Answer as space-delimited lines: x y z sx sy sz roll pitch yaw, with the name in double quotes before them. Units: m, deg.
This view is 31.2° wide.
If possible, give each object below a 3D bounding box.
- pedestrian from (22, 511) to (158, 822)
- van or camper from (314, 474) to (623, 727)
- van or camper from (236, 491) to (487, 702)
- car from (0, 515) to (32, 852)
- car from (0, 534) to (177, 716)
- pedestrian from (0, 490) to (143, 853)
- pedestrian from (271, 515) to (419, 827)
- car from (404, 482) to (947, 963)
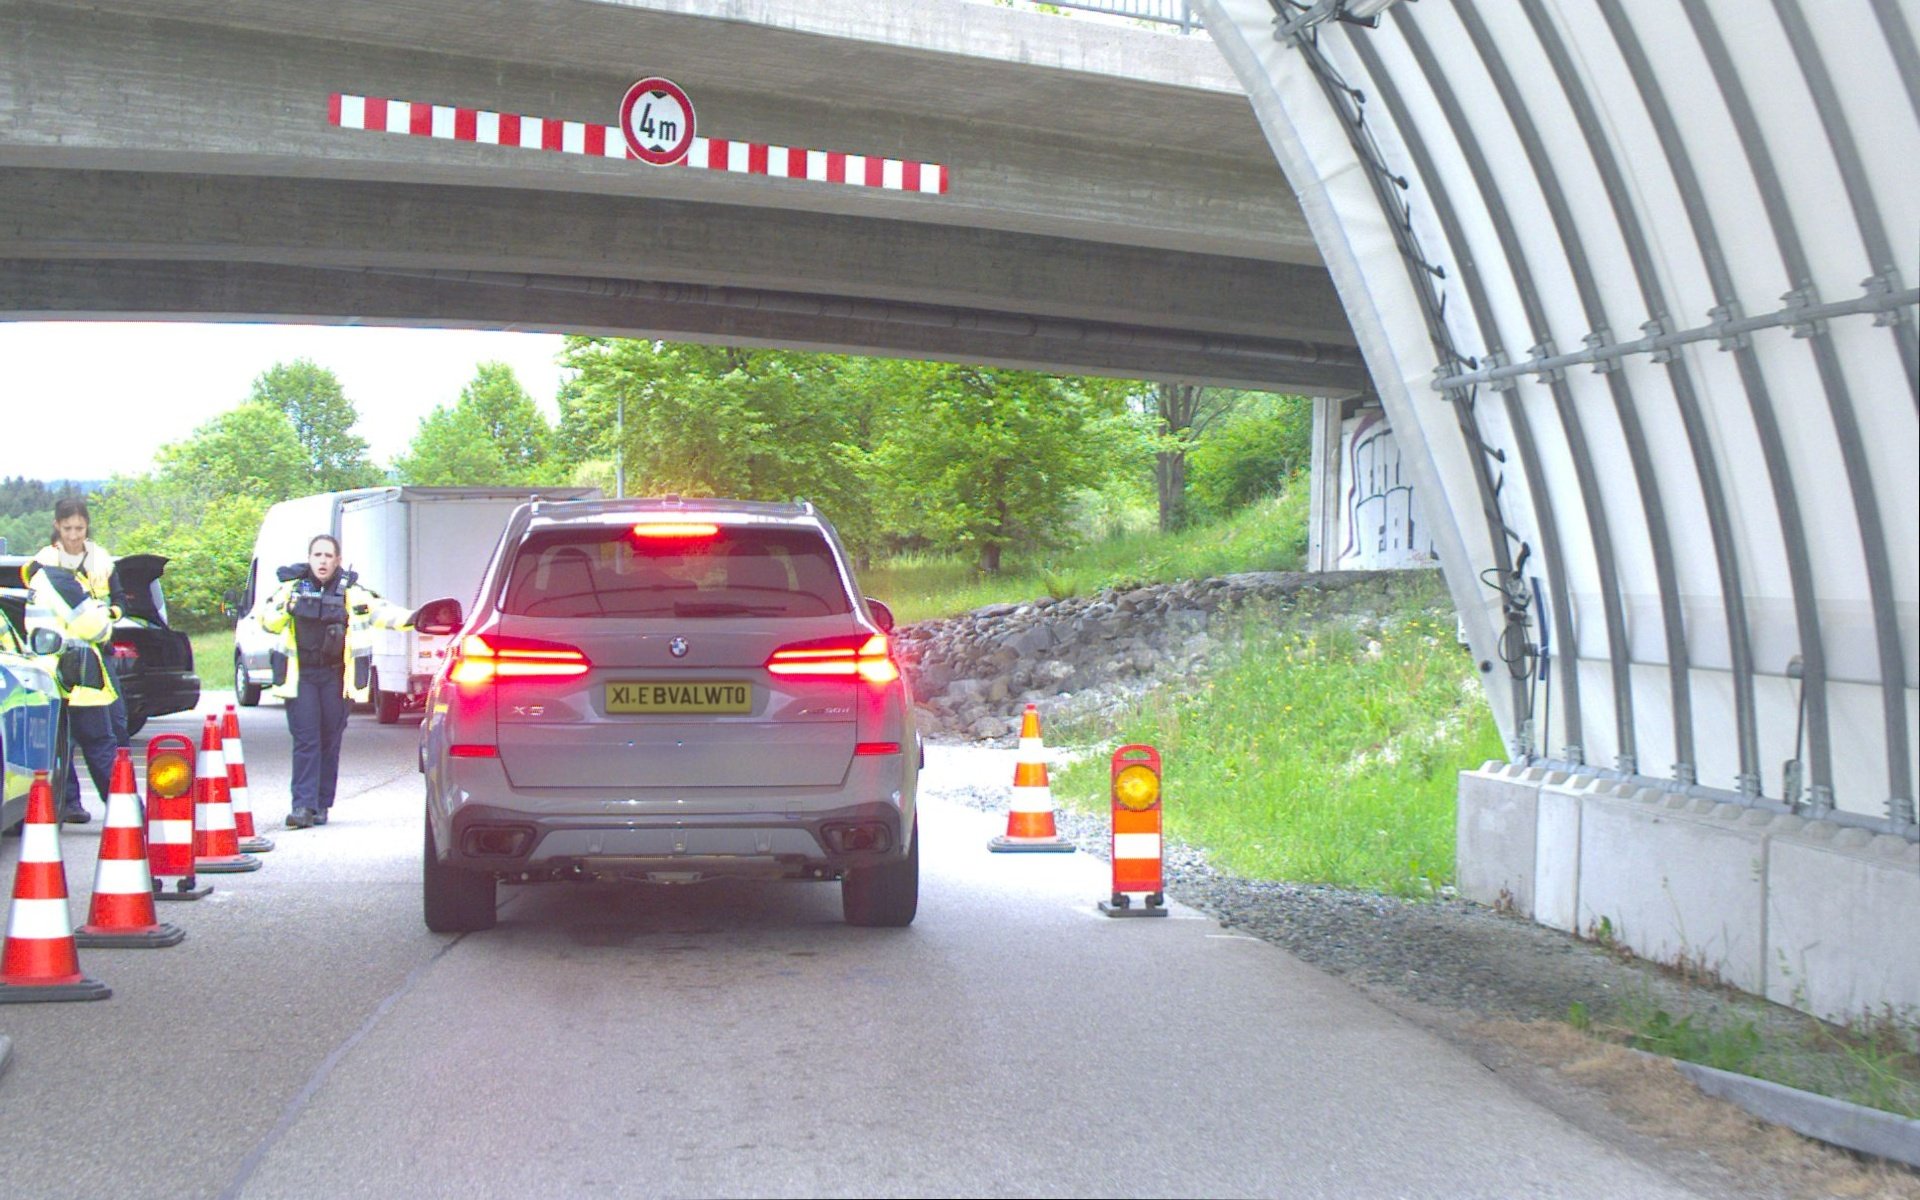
"pedestrian" -4.976 0.371 19.690 0.609 1.748 0.666 -1 0 -2
"van or camper" -5.585 -0.024 38.203 2.229 2.543 6.613 -1 1 -18
"van or camper" -7.734 -0.072 43.971 2.103 2.510 5.552 -1 1 -21
"car" -5.586 0.416 16.467 1.877 1.641 4.001 -1 1 -11
"car" -11.568 0.275 39.191 4.808 2.007 1.840 0 0 11
"pedestrian" -4.838 0.373 18.607 0.749 1.912 0.763 -1 0 -11
"pedestrian" -3.488 0.388 19.468 0.779 1.716 0.757 -1 0 -12
"car" -1.239 0.431 14.796 1.993 1.759 4.001 -1 1 -5
